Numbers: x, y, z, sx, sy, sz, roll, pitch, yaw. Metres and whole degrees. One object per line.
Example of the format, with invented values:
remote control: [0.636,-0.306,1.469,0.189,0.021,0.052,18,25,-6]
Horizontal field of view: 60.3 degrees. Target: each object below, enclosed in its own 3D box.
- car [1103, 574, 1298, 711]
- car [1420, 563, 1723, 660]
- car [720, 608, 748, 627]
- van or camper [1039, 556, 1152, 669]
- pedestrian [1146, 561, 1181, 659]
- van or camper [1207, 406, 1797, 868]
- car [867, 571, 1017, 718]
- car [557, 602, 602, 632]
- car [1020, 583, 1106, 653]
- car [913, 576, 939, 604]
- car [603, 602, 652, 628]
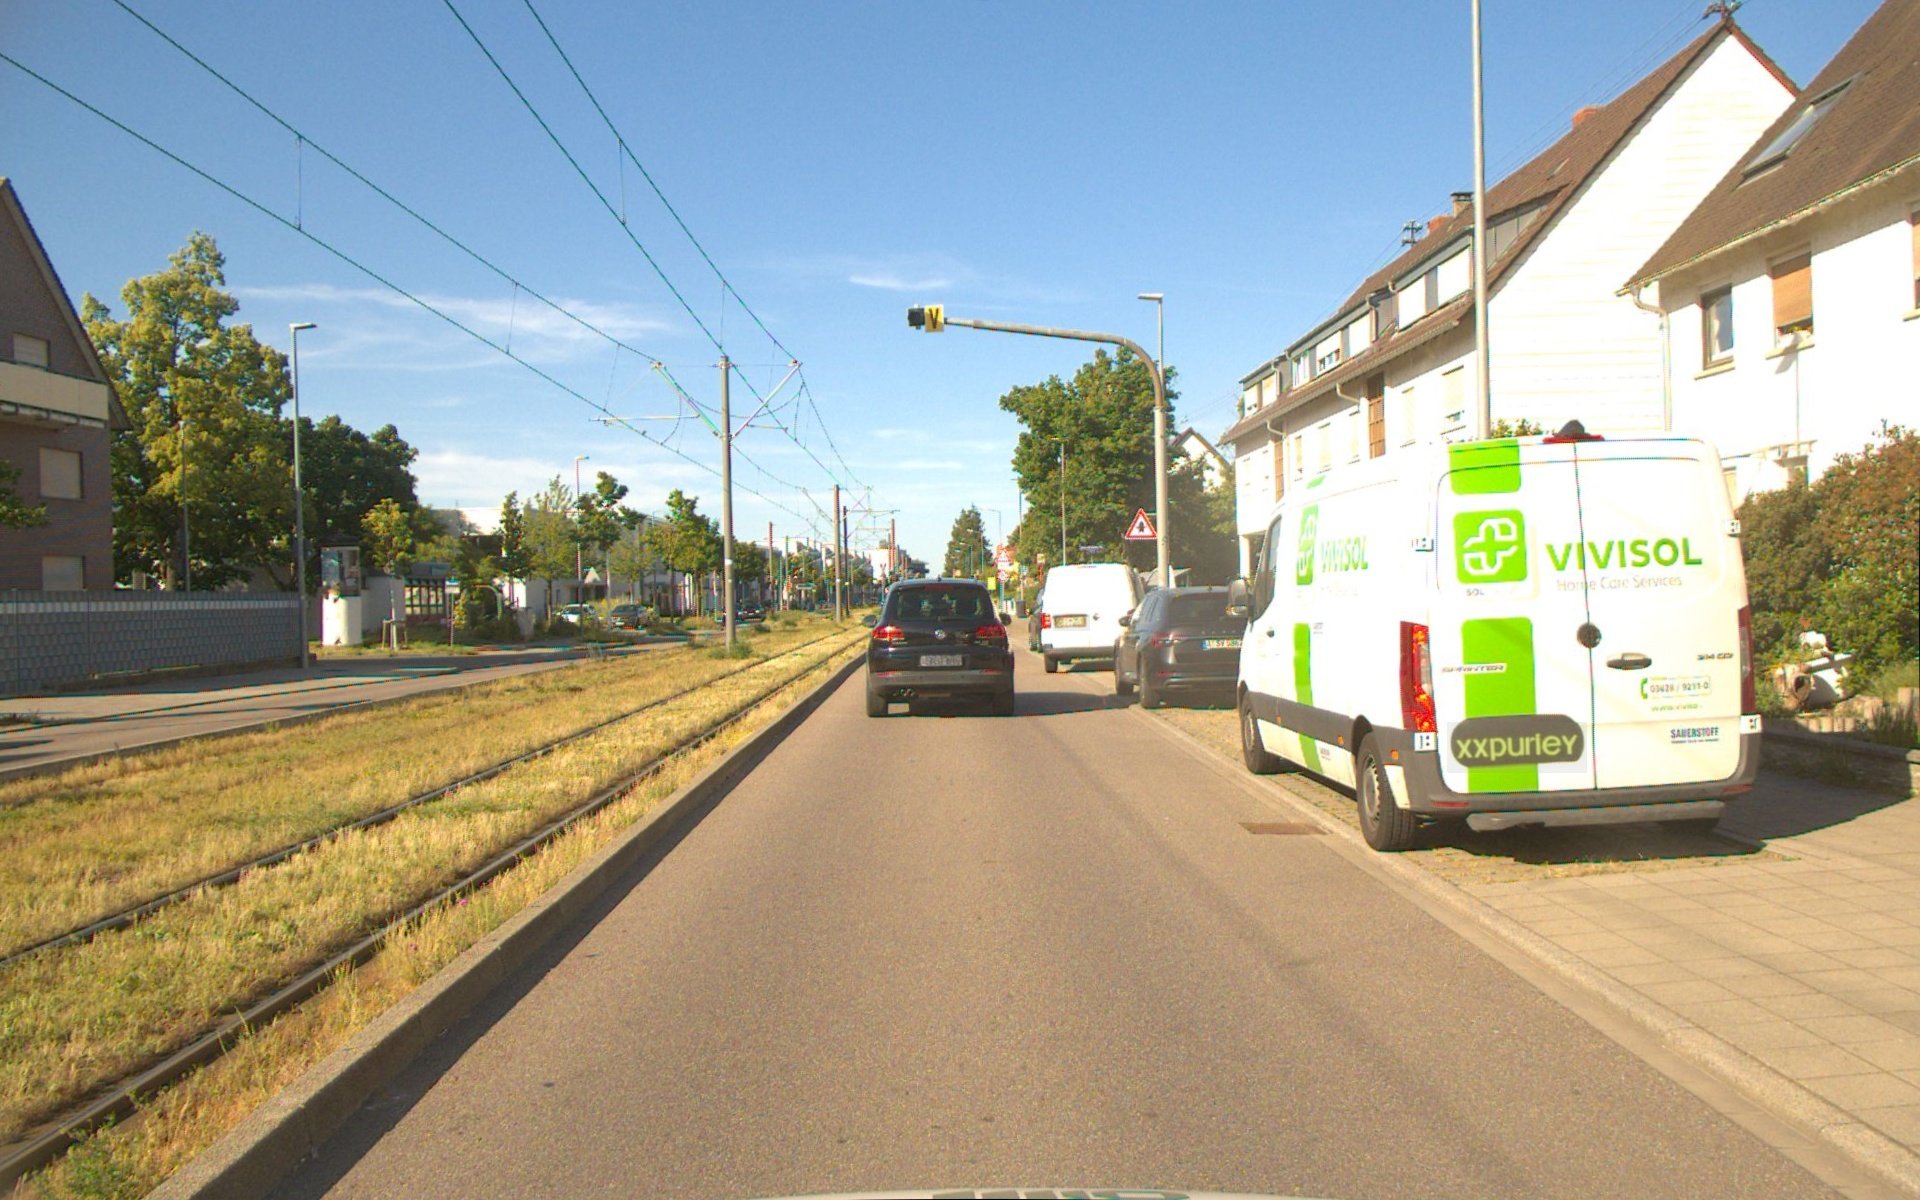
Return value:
car: [3.060,0.508,22.081,1.713,1.520,5.154,-3,0,-1]
car: [10.716,0.205,29.190,4.617,1.503,1.906,-2,-1,-3]
car: [-18.739,1.454,137.181,1.653,1.413,4.388,-3,0,1]
van or camper: [2.749,0.203,32.524,1.985,1.990,5.299,-2,0,7]
pedestrian: [4.064,0.202,33.070,0.684,1.946,0.759,0,-1,7]
van or camper: [3.304,0.200,11.787,1.953,2.310,6.303,-3,0,-1]
car: [-0.309,0.523,21.256,1.740,1.699,3.997,0,0,-3]
car: [-19.332,0.862,84.134,1.513,1.517,3.773,0,0,-2]
car: [2.675,0.446,44.066,1.755,1.657,4.859,-4,0,-2]
car: [-3.265,-0.949,159.988,2.345,2.609,5.529,-1,0,0]
car: [-19.532,0.888,97.389,1.772,1.486,4.319,0,0,3]
